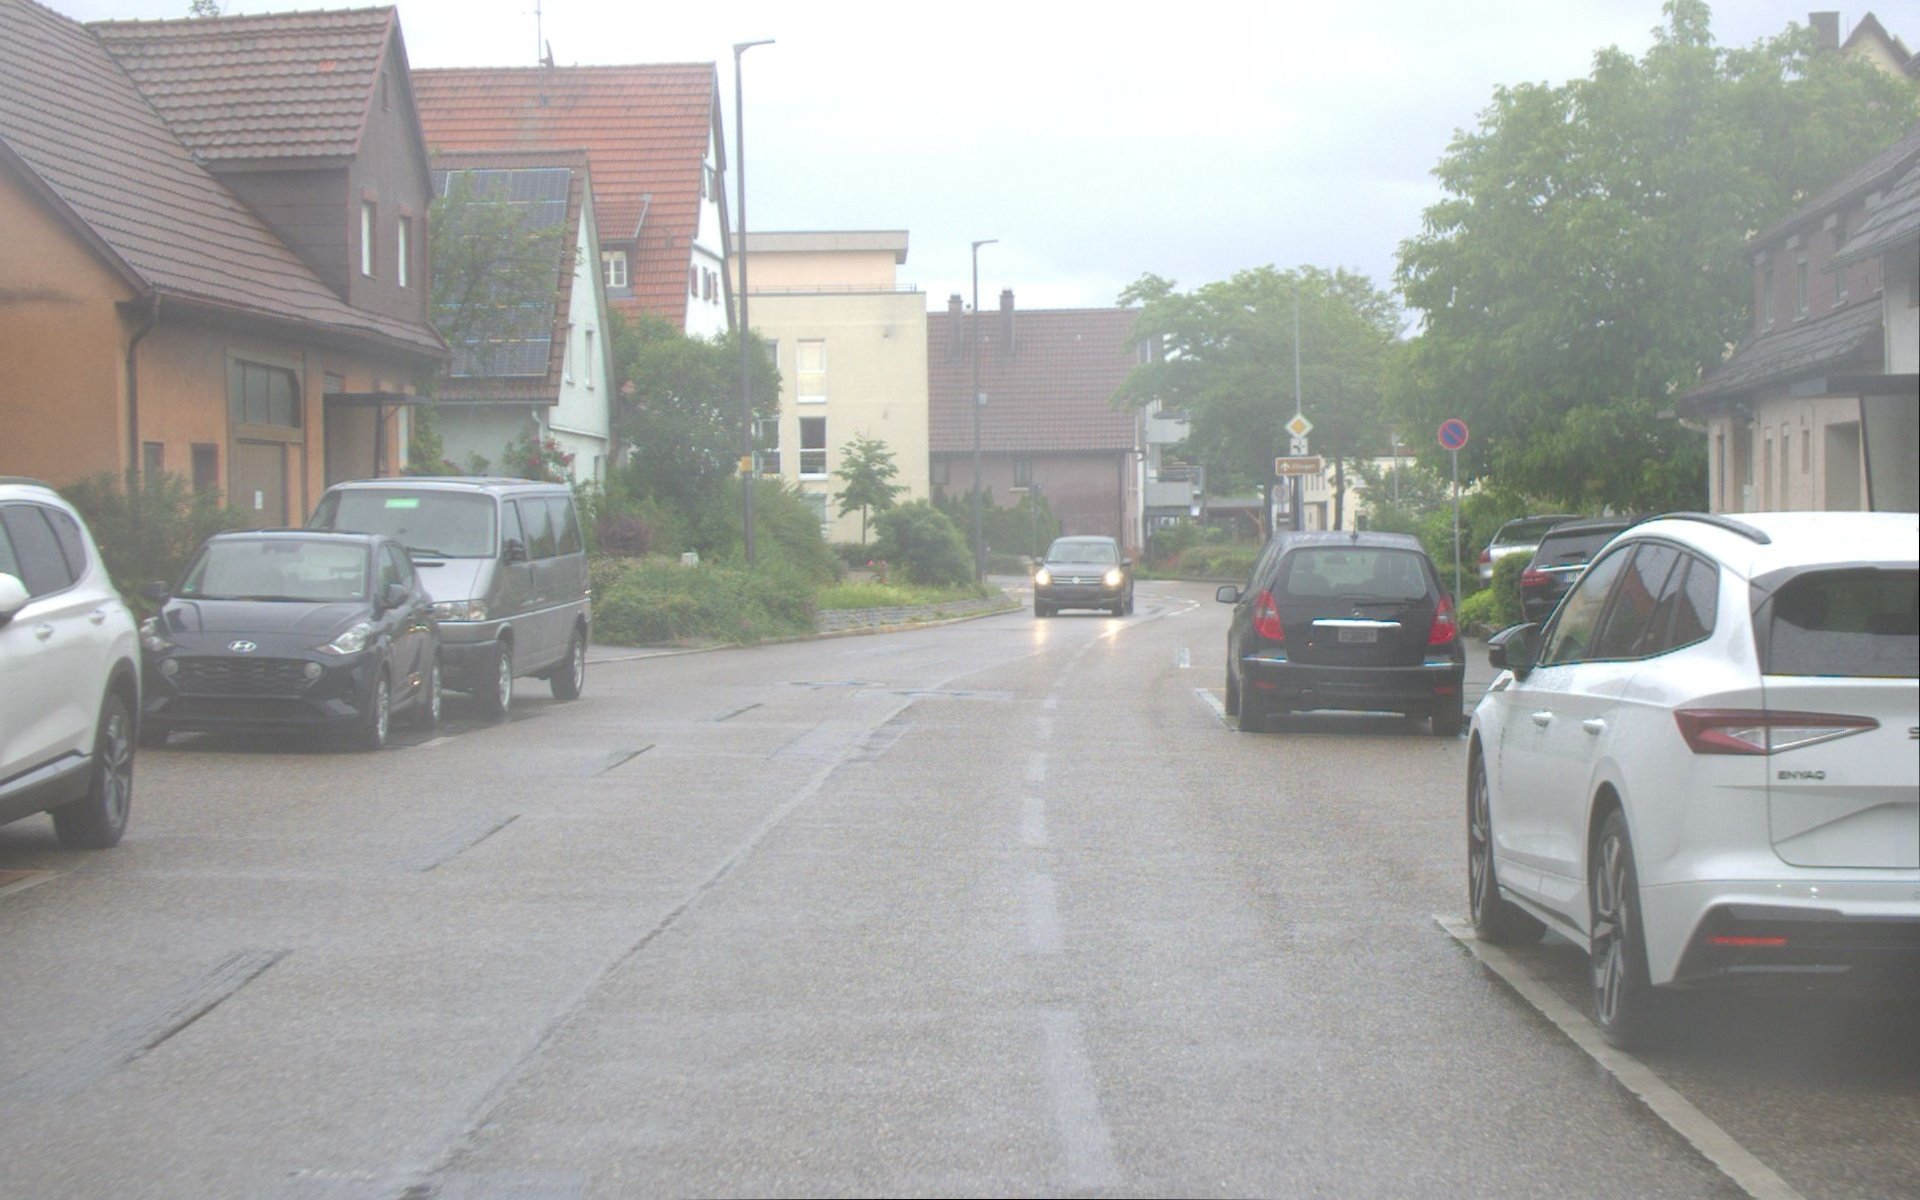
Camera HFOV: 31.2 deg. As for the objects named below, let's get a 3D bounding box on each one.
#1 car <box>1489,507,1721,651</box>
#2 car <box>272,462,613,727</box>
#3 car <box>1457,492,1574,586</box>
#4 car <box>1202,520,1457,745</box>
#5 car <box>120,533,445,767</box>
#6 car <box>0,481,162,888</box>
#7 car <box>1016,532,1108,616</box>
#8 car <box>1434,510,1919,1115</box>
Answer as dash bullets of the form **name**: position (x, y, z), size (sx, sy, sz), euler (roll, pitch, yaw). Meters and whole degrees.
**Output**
- **car**: position (7.735, -0.281, 40.957), size (1.761, 1.389, 3.996), euler (-6, 0, 23)
- **car**: position (-4.231, -0.079, 28.954), size (1.821, 2.007, 5.214), euler (-1, 1, 3)
- **car**: position (8.818, -0.967, 54.775), size (1.638, 1.425, 3.676), euler (-1, 1, 6)
- **car**: position (2.981, 0.223, 28.436), size (1.749, 1.704, 4.000), euler (-1, 1, 1)
- **car**: position (-4.660, 0.299, 24.077), size (1.578, 1.492, 3.567), euler (-1, 1, 0)
- **car**: position (-4.722, 0.333, 14.436), size (1.764, 1.613, 4.657), euler (-1, 1, -2)
- **car**: position (2.092, -0.547, 70.472), size (1.798, 1.634, 4.000), euler (1, 1, 2)
- **car**: position (2.759, 0.535, 11.405), size (1.802, 1.589, 4.612), euler (1, 1, 1)
